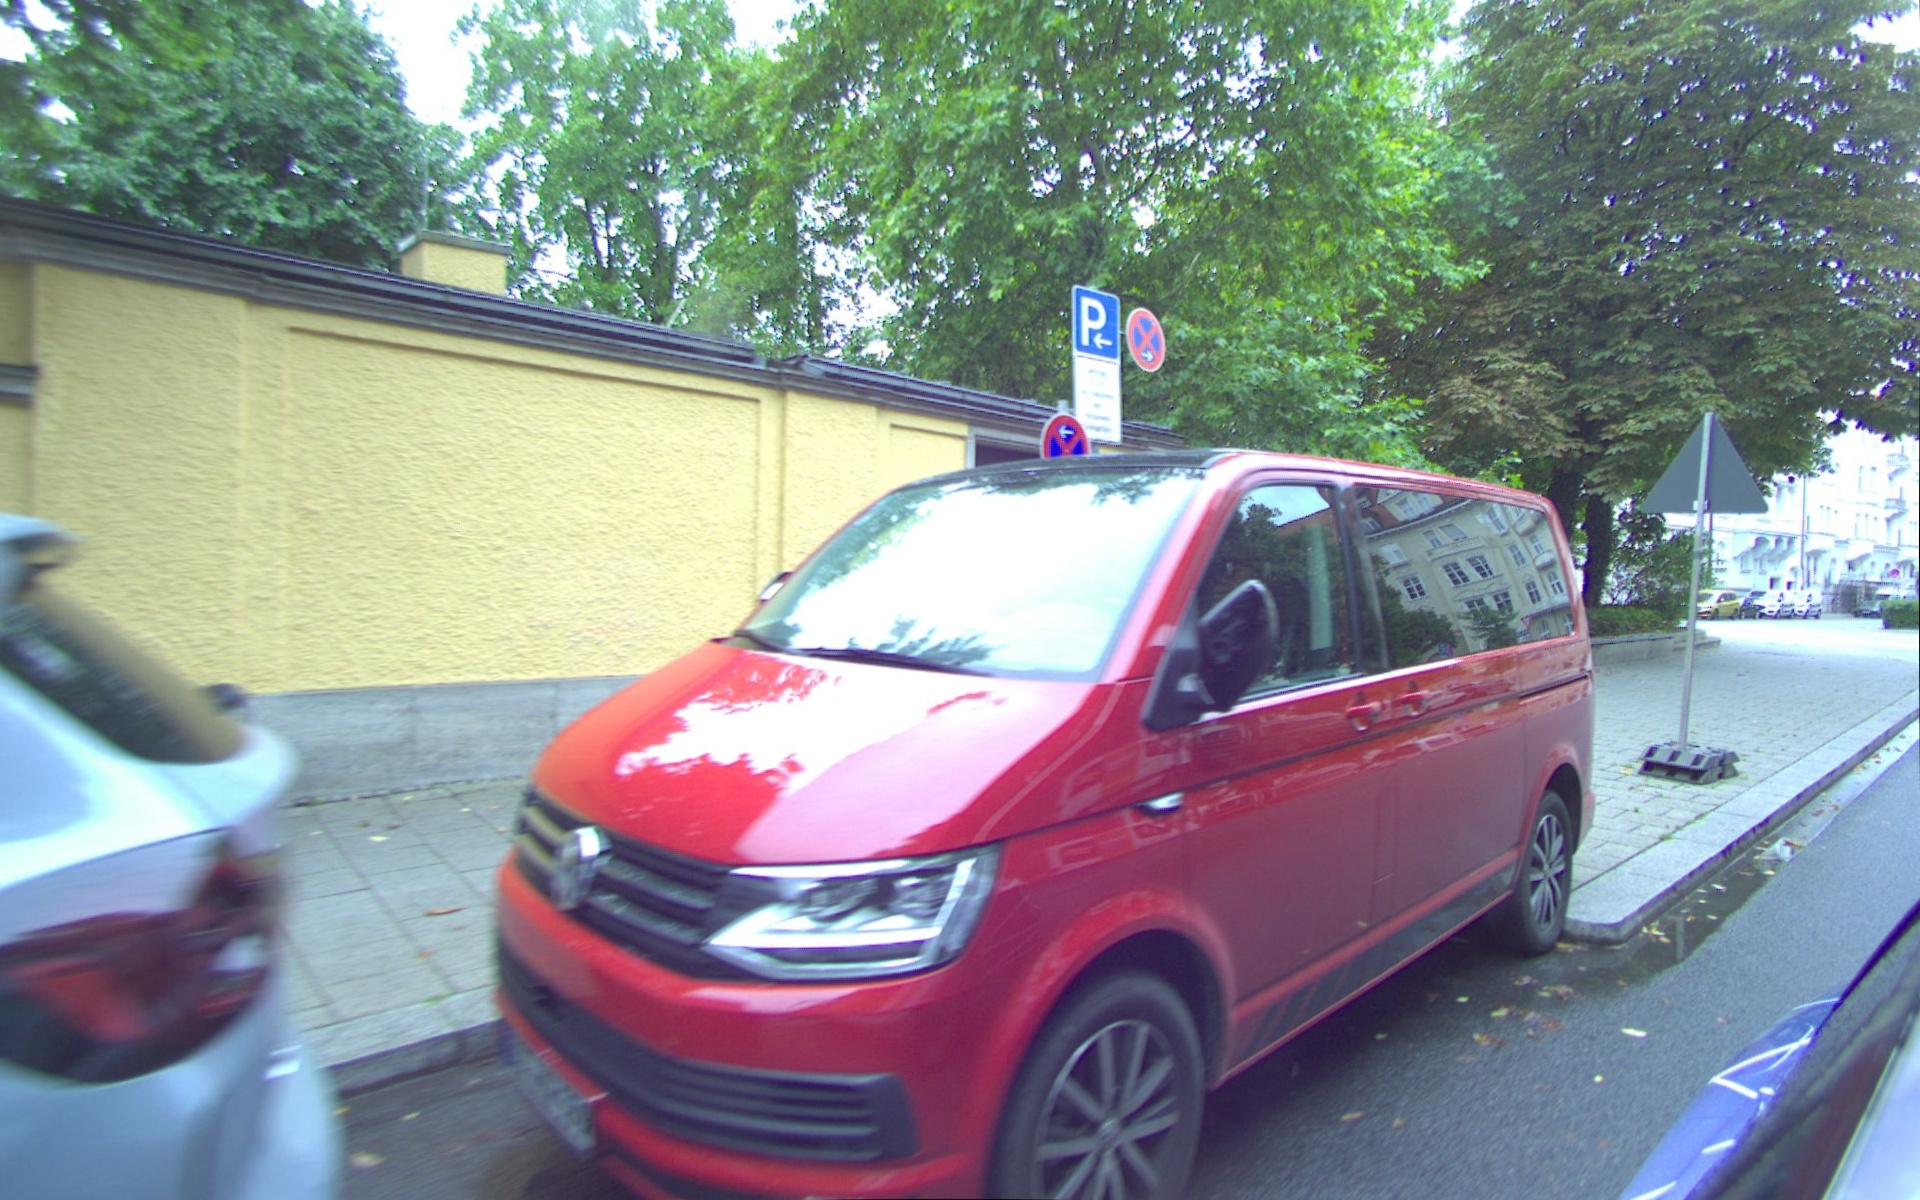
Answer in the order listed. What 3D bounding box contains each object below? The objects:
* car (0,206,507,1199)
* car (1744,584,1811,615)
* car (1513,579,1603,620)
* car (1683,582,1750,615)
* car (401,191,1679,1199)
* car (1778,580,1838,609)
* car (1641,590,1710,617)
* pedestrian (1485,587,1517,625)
[{"bbox_3d":[-2.817,0.536,0.355,4.524,1.763,1.861,0,1,-43],"label":"car"},{"bbox_3d":[54.733,-0.082,67.739,4.681,1.936,2.160,-1,3,-34],"label":"car"},{"bbox_3d":[30.820,-0.020,52.089,4.876,1.958,1.953,0,2,-32],"label":"car"},{"bbox_3d":[45.825,-0.122,61.279,4.220,1.841,1.798,-1,3,-32],"label":"car"},{"bbox_3d":[1.031,0.340,3.954,5.354,1.991,1.861,-2,3,-43],"label":"car"},{"bbox_3d":[59.701,-0.414,71.216,4.488,1.962,2.056,-1,3,-34],"label":"car"},{"bbox_3d":[41.432,0.192,58.589,3.745,1.437,1.953,-1,3,-32],"label":"car"},{"bbox_3d":[17.056,0.186,31.909,0.730,1.192,0.579,1,1,-32],"label":"pedestrian"}]
